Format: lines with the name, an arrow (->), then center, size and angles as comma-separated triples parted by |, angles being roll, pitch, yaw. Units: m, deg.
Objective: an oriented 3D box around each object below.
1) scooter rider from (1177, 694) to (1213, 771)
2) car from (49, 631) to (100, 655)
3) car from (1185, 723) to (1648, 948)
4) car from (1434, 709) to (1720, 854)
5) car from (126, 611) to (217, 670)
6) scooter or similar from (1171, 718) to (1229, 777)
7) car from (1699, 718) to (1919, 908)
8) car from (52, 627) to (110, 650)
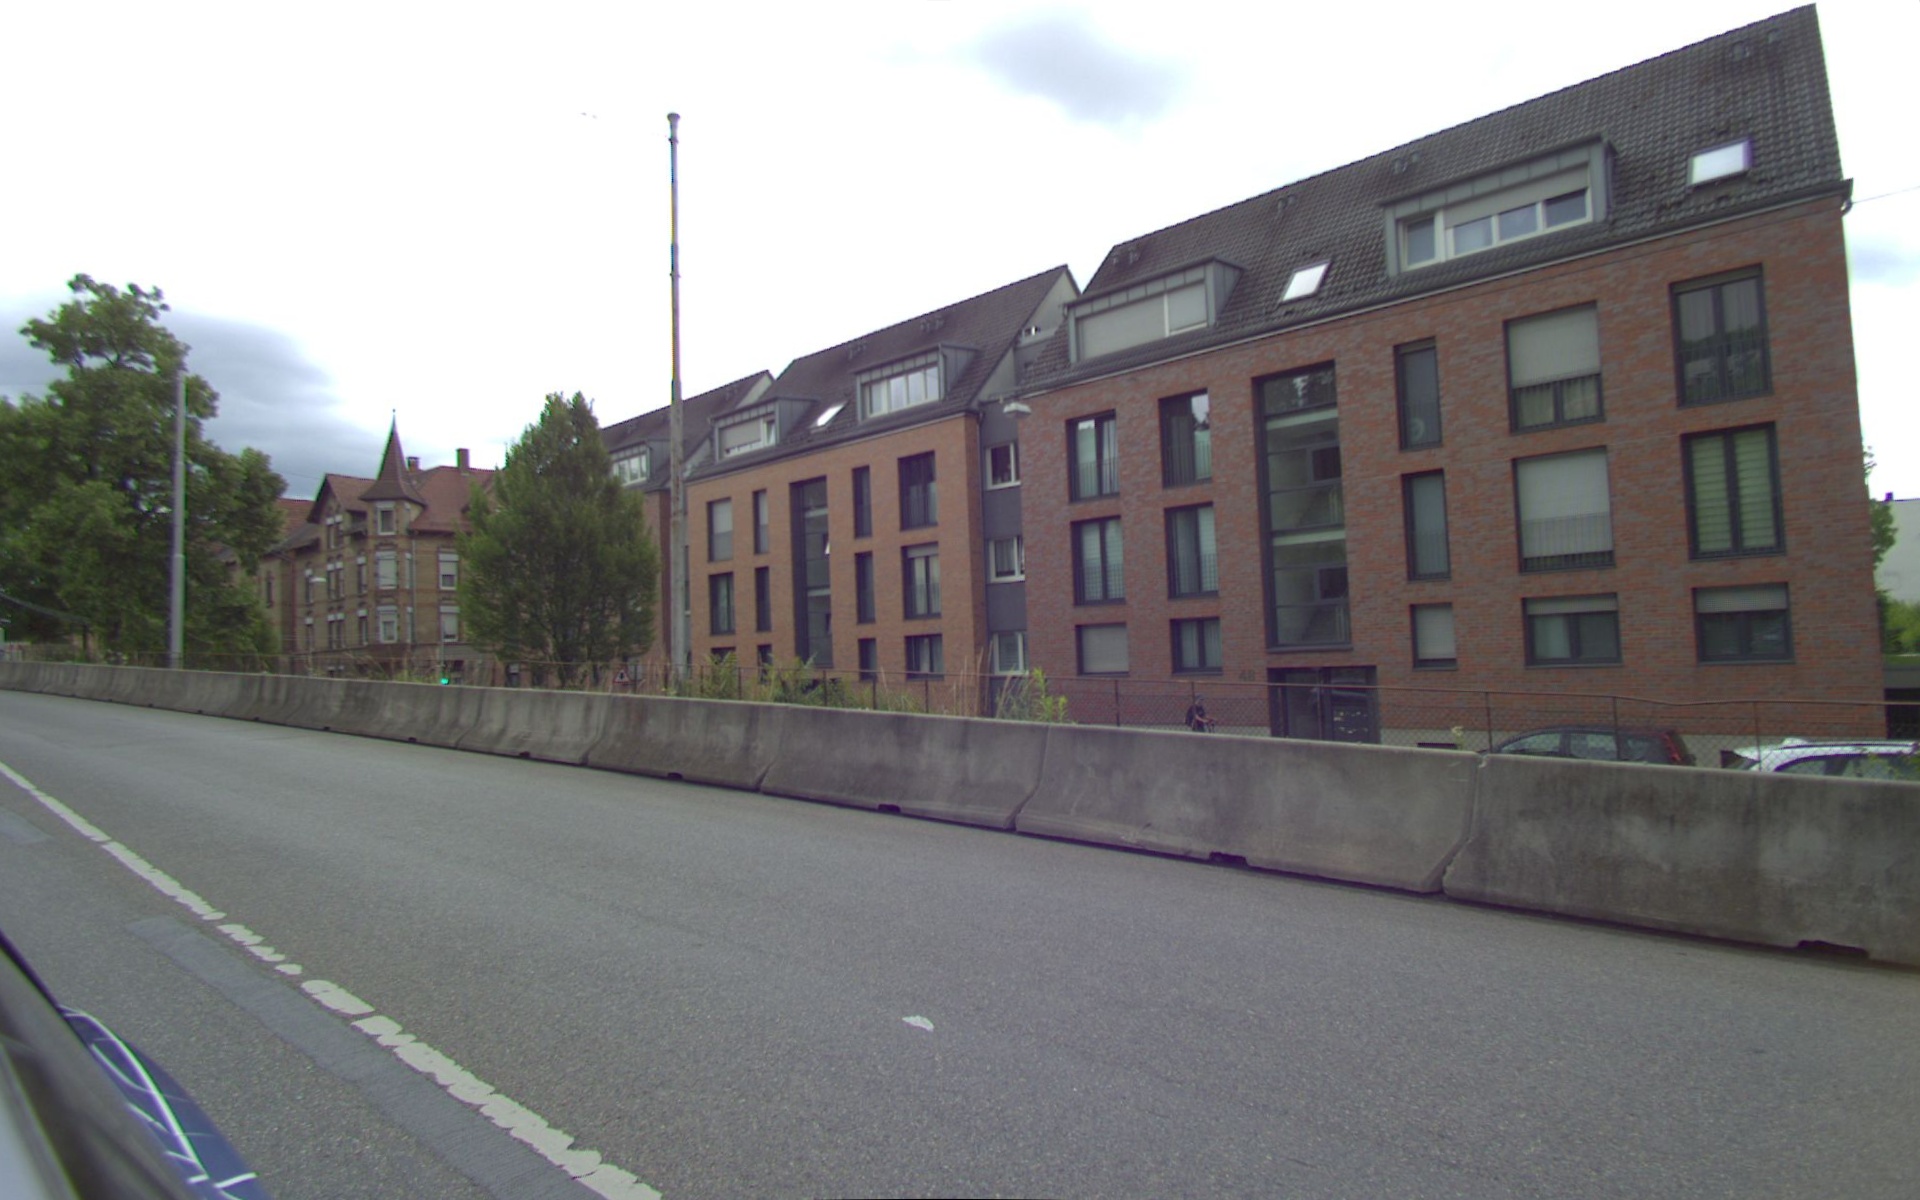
scooter rider -> 5.415, 3.039, 23.341 | 0.577, 1.718, 0.482 | -5, -4, 41
car -> -59.863, 2.895, 68.381 | 3.997, 1.564, 1.973 | -2, -2, 40
car -> 4.456, 2.173, 10.232 | 3.995, 1.525, 1.519 | -2, -1, 39
car -> 10.074, 2.853, 16.668 | 3.765, 1.815, 1.696 | -2, -2, 41
car -> -37.539, 1.847, 48.117 | 5.735, 2.601, 2.531 | -1, 0, 43
scooter or similar -> 5.512, 3.384, 23.290 | 1.226, 1.251, 0.374 | -4, -3, 41
car -> 9.966, 2.090, 9.758 | 4.421, 1.525, 1.809 | -2, -1, 41
car -> -52.155, 2.291, 60.015 | 3.997, 1.364, 1.973 | -2, -3, 40
